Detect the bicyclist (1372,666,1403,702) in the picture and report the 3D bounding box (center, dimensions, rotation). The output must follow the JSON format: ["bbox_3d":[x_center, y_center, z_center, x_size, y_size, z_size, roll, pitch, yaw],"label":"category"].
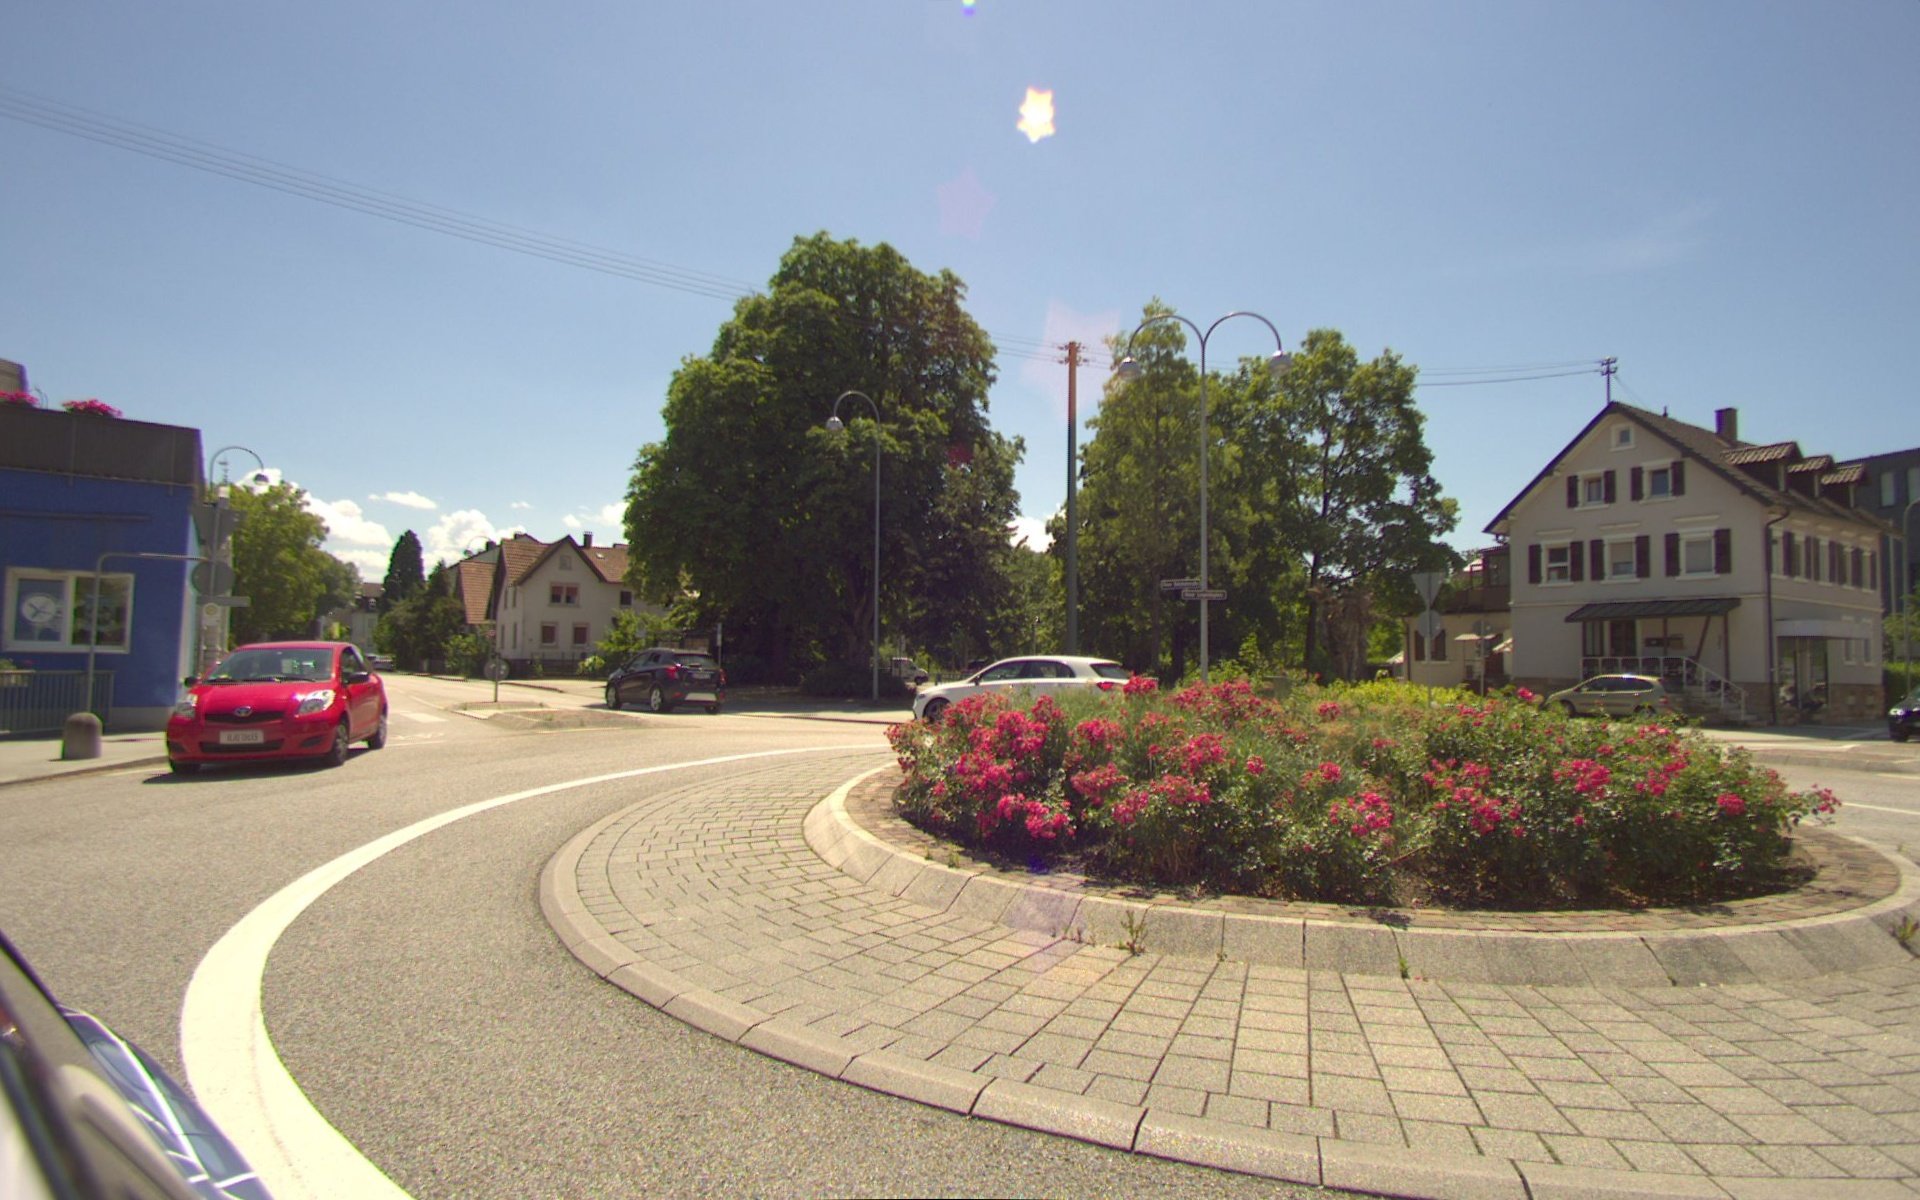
[{"bbox_3d":[20.457,4.008,48.475,0.797,1.647,1.066,5,-4,-22],"label":"bicyclist"}]

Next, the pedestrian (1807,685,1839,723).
[{"bbox_3d":[30.330,3.634,35.567,0.571,1.296,0.687,4,-5,-36],"label":"pedestrian"}]

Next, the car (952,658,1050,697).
[{"bbox_3d":[1.843,3.442,45.306,3.976,1.614,1.827,-1,-4,25],"label":"car"}]

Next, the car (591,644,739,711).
[{"bbox_3d":[-7.730,2.085,26.362,1.970,1.574,4.169,5,-9,-44],"label":"car"}]

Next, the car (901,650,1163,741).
[{"bbox_3d":[1.237,1.657,18.033,4.276,1.392,1.911,-1,-6,34],"label":"car"}]

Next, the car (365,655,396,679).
[{"bbox_3d":[-54.103,6.280,94.416,1.967,2.029,4.009,5,-8,-35],"label":"car"}]

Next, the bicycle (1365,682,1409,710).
[{"bbox_3d":[20.413,4.571,48.436,0.797,1.164,1.858,5,-3,-21],"label":"bicycle"}]

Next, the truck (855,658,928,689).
[{"bbox_3d":[-5.863,6.286,86.442,6.126,2.462,2.266,1,-6,-3],"label":"truck"}]

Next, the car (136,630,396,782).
[{"bbox_3d":[-8.405,1.197,12.672,1.803,1.545,4.013,0,-3,-21],"label":"car"}]

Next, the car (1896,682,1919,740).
[{"bbox_3d":[27.983,3.093,28.230,3.532,1.558,1.760,3,-4,-31],"label":"car"}]

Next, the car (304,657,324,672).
[{"bbox_3d":[-80.623,8.105,126.329,1.712,1.719,4.007,3,-6,-38],"label":"car"}]

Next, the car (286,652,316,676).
[{"bbox_3d":[-60.099,5.872,92.280,1.967,2.029,4.009,5,-8,-35],"label":"car"}]

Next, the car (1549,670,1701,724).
[{"bbox_3d":[22.798,3.300,34.845,1.764,1.608,4.012,4,-4,-30],"label":"car"}]
